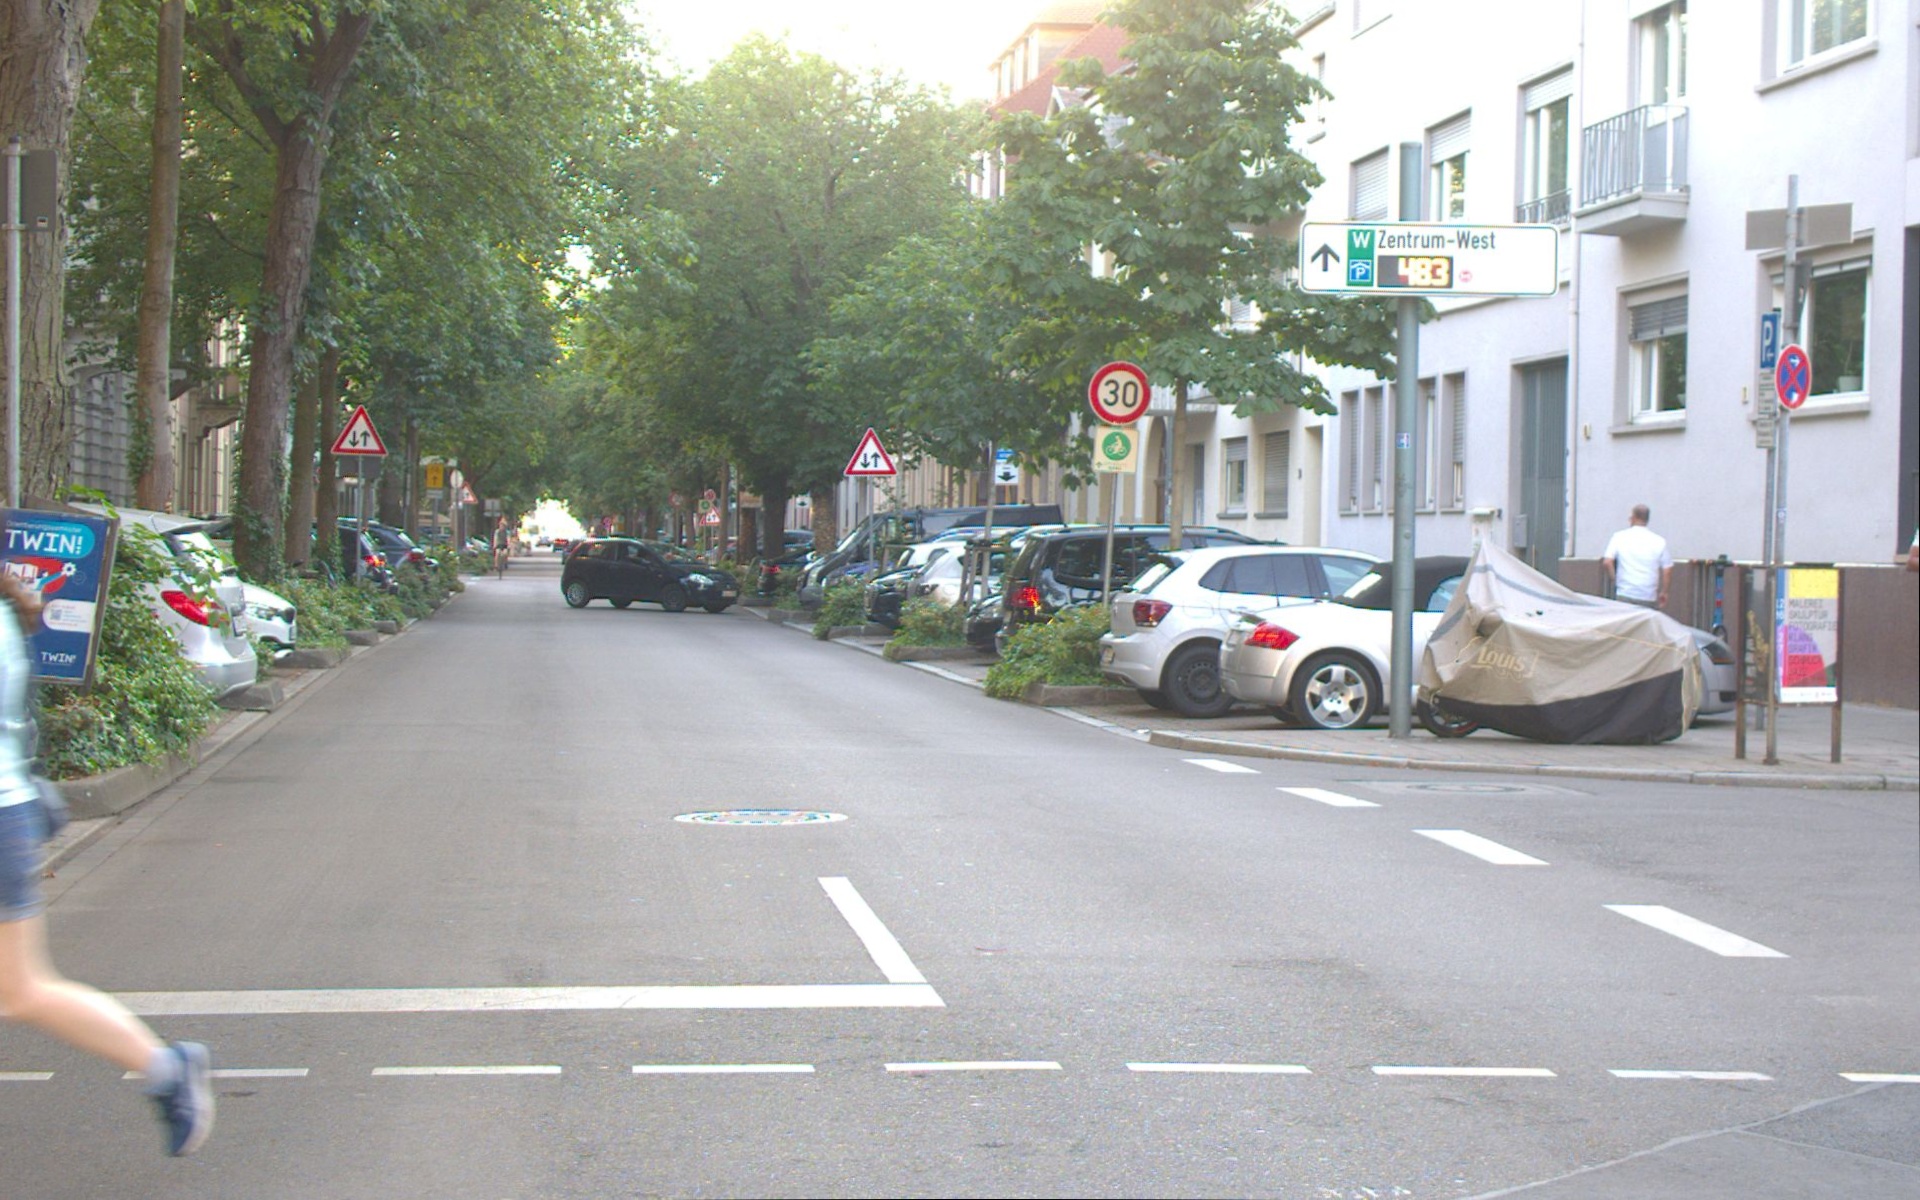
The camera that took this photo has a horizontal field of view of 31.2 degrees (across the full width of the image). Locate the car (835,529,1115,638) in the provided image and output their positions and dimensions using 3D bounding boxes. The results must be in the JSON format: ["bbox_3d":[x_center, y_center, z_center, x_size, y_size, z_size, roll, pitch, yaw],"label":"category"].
[{"bbox_3d":[0.202,-0.253,51.945,4.013,1.525,1.707,1,1,-7],"label":"car"}]

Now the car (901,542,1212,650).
[{"bbox_3d":[1.288,-0.062,46.874,4.013,1.404,1.707,1,1,-7],"label":"car"}]

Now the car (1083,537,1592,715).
[{"bbox_3d":[3.167,0.209,29.293,4.013,1.437,1.707,1,1,-7],"label":"car"}]

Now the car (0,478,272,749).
[{"bbox_3d":[-6.865,0.050,22.299,4.547,1.683,1.833,1,1,-6],"label":"car"}]

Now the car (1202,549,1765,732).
[{"bbox_3d":[4.024,0.301,26.770,4.013,1.338,1.707,1,1,-6],"label":"car"}]

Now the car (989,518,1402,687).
[{"bbox_3d":[2.406,0.014,35.701,4.013,1.684,1.707,1,1,-7],"label":"car"}]

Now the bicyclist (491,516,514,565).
[{"bbox_3d":[-13.767,-1.786,103.466,0.571,1.465,0.643,2,0,-12],"label":"bicyclist"}]

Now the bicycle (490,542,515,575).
[{"bbox_3d":[-13.740,-1.242,103.277,0.571,0.946,1.745,2,0,-12],"label":"bicycle"}]

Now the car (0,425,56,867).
[{"bbox_3d":[-6.319,0.146,14.761,4.546,1.828,1.834,1,1,-9],"label":"car"}]

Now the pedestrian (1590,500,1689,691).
[{"bbox_3d":[6.342,-0.046,32.122,0.704,1.746,0.699,2,1,-2],"label":"pedestrian"}]

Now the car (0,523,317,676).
[{"bbox_3d":[-8.465,-0.029,32.479,4.547,1.367,1.833,1,1,-6],"label":"car"}]

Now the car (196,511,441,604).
[{"bbox_3d":[-12.488,-0.838,67.164,4.547,1.686,1.833,1,1,-6],"label":"car"}]

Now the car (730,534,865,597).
[{"bbox_3d":[-5.051,-1.080,106.678,4.013,1.824,1.707,1,1,-7],"label":"car"}]

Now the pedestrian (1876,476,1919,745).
[{"bbox_3d":[6.917,0.072,23.792,0.767,1.835,0.944,2,1,-6],"label":"pedestrian"}]

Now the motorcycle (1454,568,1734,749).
[{"bbox_3d":[4.331,0.391,23.566,1.800,1.195,0.613,1,1,3],"label":"motorcycle"}]

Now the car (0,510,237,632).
[{"bbox_3d":[-11.935,-0.408,46.462,4.038,1.584,1.833,1,1,-6],"label":"car"}]

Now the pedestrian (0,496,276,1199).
[{"bbox_3d":[-2.109,0.550,7.471,0.977,1.552,0.701,1,2,-37],"label":"pedestrian"}]

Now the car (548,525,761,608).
[{"bbox_3d":[-6.394,-0.702,71.945,3.984,1.572,1.907,3,1,28],"label":"car"}]

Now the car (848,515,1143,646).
[{"bbox_3d":[0.482,-0.288,49.100,4.013,1.809,1.707,1,1,-7],"label":"car"}]

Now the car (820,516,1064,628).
[{"bbox_3d":[-0.335,-0.490,59.278,4.013,1.824,1.707,1,1,-7],"label":"car"}]

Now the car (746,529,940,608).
[{"bbox_3d":[-2.545,-0.682,74.031,4.013,1.596,1.707,1,1,-7],"label":"car"}]

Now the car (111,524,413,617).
[{"bbox_3d":[-11.083,-0.481,54.843,4.547,1.405,1.833,1,1,-6],"label":"car"}]
